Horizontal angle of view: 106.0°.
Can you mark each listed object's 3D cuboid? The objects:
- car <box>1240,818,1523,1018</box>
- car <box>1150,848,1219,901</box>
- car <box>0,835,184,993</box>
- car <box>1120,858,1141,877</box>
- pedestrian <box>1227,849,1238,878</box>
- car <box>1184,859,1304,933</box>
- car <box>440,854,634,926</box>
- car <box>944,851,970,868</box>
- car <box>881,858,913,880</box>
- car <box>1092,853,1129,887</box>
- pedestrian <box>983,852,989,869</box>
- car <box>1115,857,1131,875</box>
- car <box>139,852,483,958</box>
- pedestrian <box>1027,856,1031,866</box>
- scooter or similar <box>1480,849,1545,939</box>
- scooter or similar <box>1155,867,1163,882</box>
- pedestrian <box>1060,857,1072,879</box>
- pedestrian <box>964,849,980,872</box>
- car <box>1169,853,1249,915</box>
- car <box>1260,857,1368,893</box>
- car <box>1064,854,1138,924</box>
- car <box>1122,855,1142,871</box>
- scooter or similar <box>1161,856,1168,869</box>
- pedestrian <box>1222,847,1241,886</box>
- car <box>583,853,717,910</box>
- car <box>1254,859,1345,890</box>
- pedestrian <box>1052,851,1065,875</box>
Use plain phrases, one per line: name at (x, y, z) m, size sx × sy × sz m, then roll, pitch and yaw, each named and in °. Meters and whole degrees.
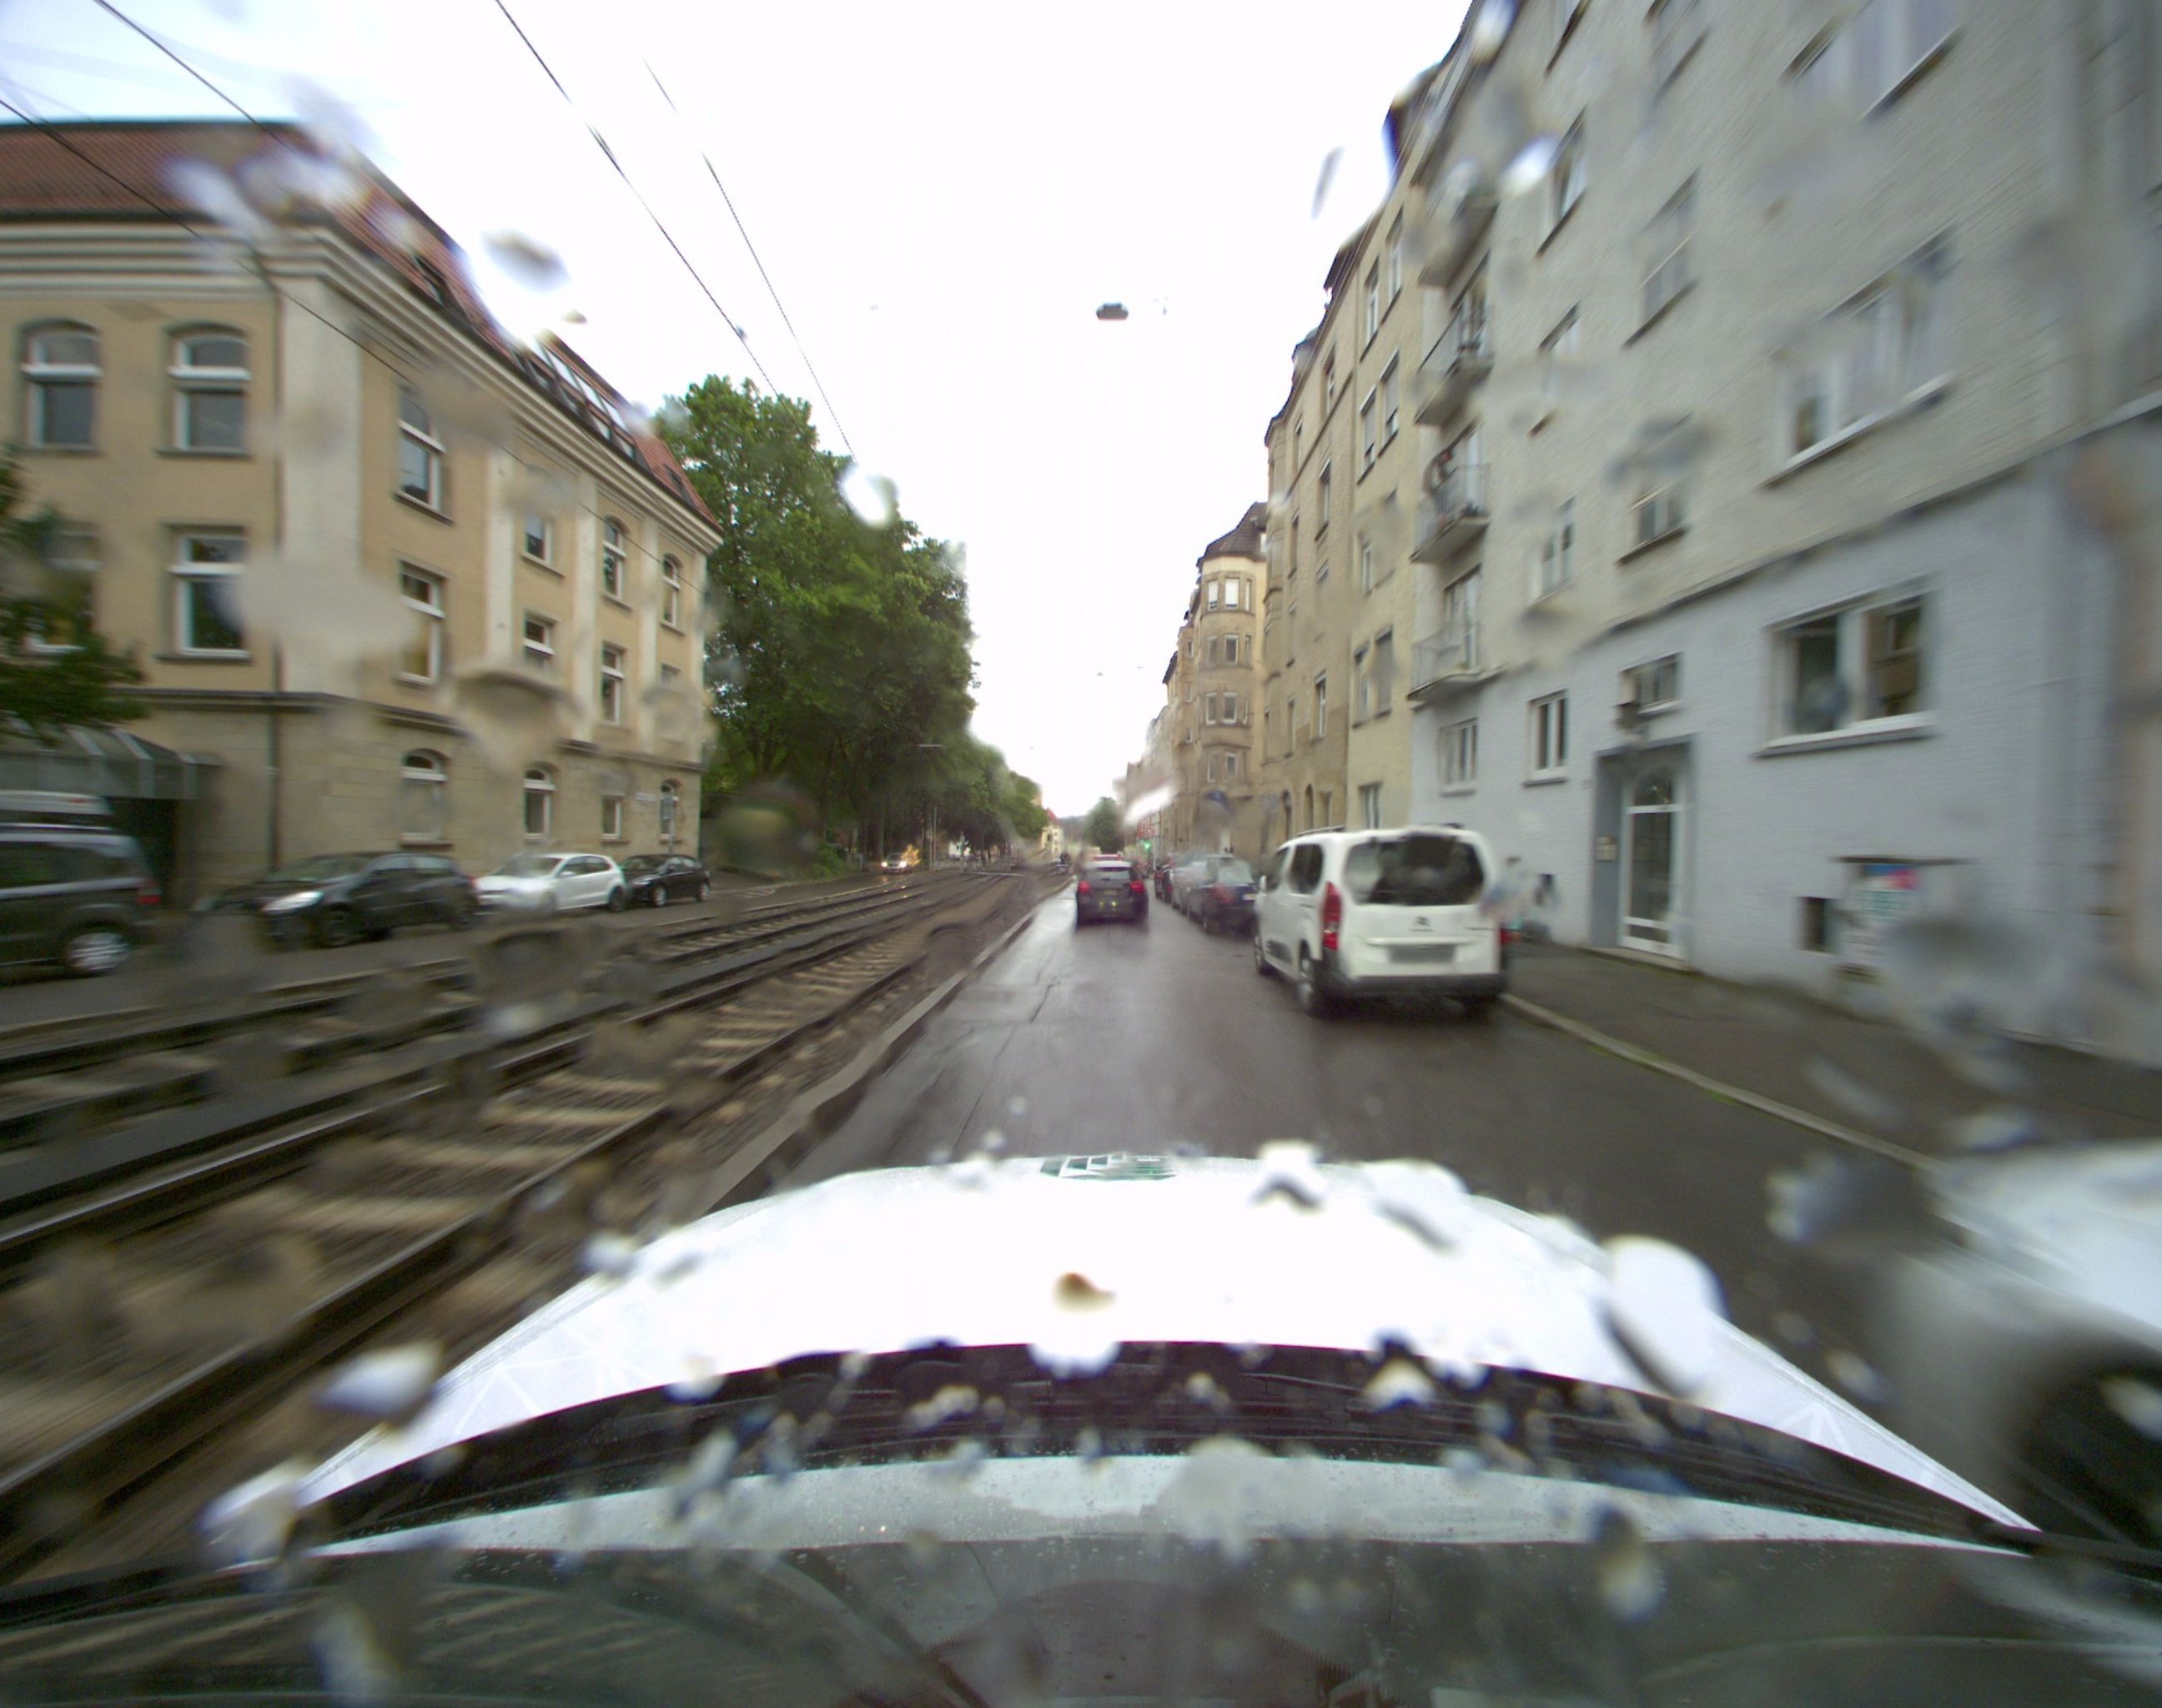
car at (3.077, 0.564, 9.402) m, size 1.821 × 1.750 × 4.470 m, roll 0°, pitch 0°, yaw 3°
car at (3.453, 0.664, 27.861) m, size 1.761 × 1.668 × 4.330 m, roll 1°, pitch 0°, yaw -1°
car at (-12.076, 0.646, 8.176) m, size 1.571 × 1.643 × 4.071 m, roll -2°, pitch 0°, yaw 0°
car at (4.611, 1.256, 76.598) m, size 1.820 × 1.618 × 3.865 m, roll -1°, pitch 0°, yaw 1°
pedestrian at (8.691, 0.547, 46.612) m, size 0.545 × 1.688 × 0.627 m, roll 0°, pitch -1°, yaw 5°
car at (3.302, 0.800, 17.320) m, size 1.711 × 1.347 × 4.462 m, roll 1°, pitch 0°, yaw 1°
car at (-11.945, 0.725, 18.235) m, size 1.494 × 1.391 × 3.989 m, roll -2°, pitch 0°, yaw 2°
car at (-13.381, 0.600, 87.797) m, size 1.986 × 1.739 × 4.002 m, roll 1°, pitch 0°, yaw 2°
car at (-12.855, 1.008, 57.039) m, size 1.816 × 1.505 × 4.619 m, roll 0°, pitch 0°, yaw -9°
car at (1.437, 0.775, 40.313) m, size 1.779 × 1.581 × 4.001 m, roll 0°, pitch 0°, yaw 1°
pedestrian at (-10.274, 0.726, 88.199) m, size 0.532 × 1.754 × 0.607 m, roll 2°, pitch -1°, yaw 1°
car at (4.957, 1.349, 96.408) m, size 1.753 × 2.013 × 4.001 m, roll -1°, pitch 0°, yaw 1°
car at (-12.142, 0.715, 13.285) m, size 1.668 × 1.413 × 4.012 m, roll -2°, pitch 0°, yaw 2°
pedestrian at (-8.776, 1.172, 136.868) m, size 0.516 × 1.717 × 0.551 m, roll 2°, pitch -1°, yaw 1°
scooter or similar at (6.534, 0.585, 12.372) m, size 0.386 × 1.297 × 1.172 m, roll 0°, pitch 0°, yaw 2°
scooter or similar at (6.964, 1.819, 72.484) m, size 0.447 × 1.321 × 1.776 m, roll -1°, pitch 0°, yaw -1°
pedestrian at (-1.131, 1.064, 61.521) m, size 0.803 × 1.634 × 0.892 m, roll -1°, pitch 0°, yaw 2°
pedestrian at (-8.344, 0.517, 62.575) m, size 1.050 × 1.719 × 0.904 m, roll 1°, pitch 0°, yaw 2°
car at (3.434, 0.763, 22.412) m, size 1.687 × 1.529 × 4.001 m, roll 0°, pitch 0°, yaw 2°
car at (10.550, 0.921, 37.112) m, size 4.430 × 1.484 × 1.866 m, roll -1°, pitch 0°, yaw 4°
car at (0.455, 0.757, 19.177) m, size 1.575 × 1.505 × 3.574 m, roll 0°, pitch 0°, yaw 1°
car at (5.062, 0.875, 81.424) m, size 1.753 × 1.579 × 4.001 m, roll -1°, pitch 0°, yaw 1°
scooter or similar at (8.922, 0.900, 87.079) m, size 0.448 × 1.321 × 1.774 m, roll -1°, pitch 0°, yaw -6°
pedestrian at (6.954, 0.580, 37.625) m, size 0.692 × 1.787 × 0.758 m, roll -2°, pitch -1°, yaw 0°
car at (-11.850, 0.709, 22.685) m, size 1.609 × 1.429 × 3.853 m, roll 0°, pitch 0°, yaw 1°
car at (11.391, 1.068, 42.748) m, size 4.318 × 1.531 × 1.893 m, roll -1°, pitch -1°, yaw 3°
pedestrian at (-1.978, 0.772, 71.231) m, size 1.135 × 1.998 × 1.171 m, roll -1°, pitch 0°, yaw -3°
